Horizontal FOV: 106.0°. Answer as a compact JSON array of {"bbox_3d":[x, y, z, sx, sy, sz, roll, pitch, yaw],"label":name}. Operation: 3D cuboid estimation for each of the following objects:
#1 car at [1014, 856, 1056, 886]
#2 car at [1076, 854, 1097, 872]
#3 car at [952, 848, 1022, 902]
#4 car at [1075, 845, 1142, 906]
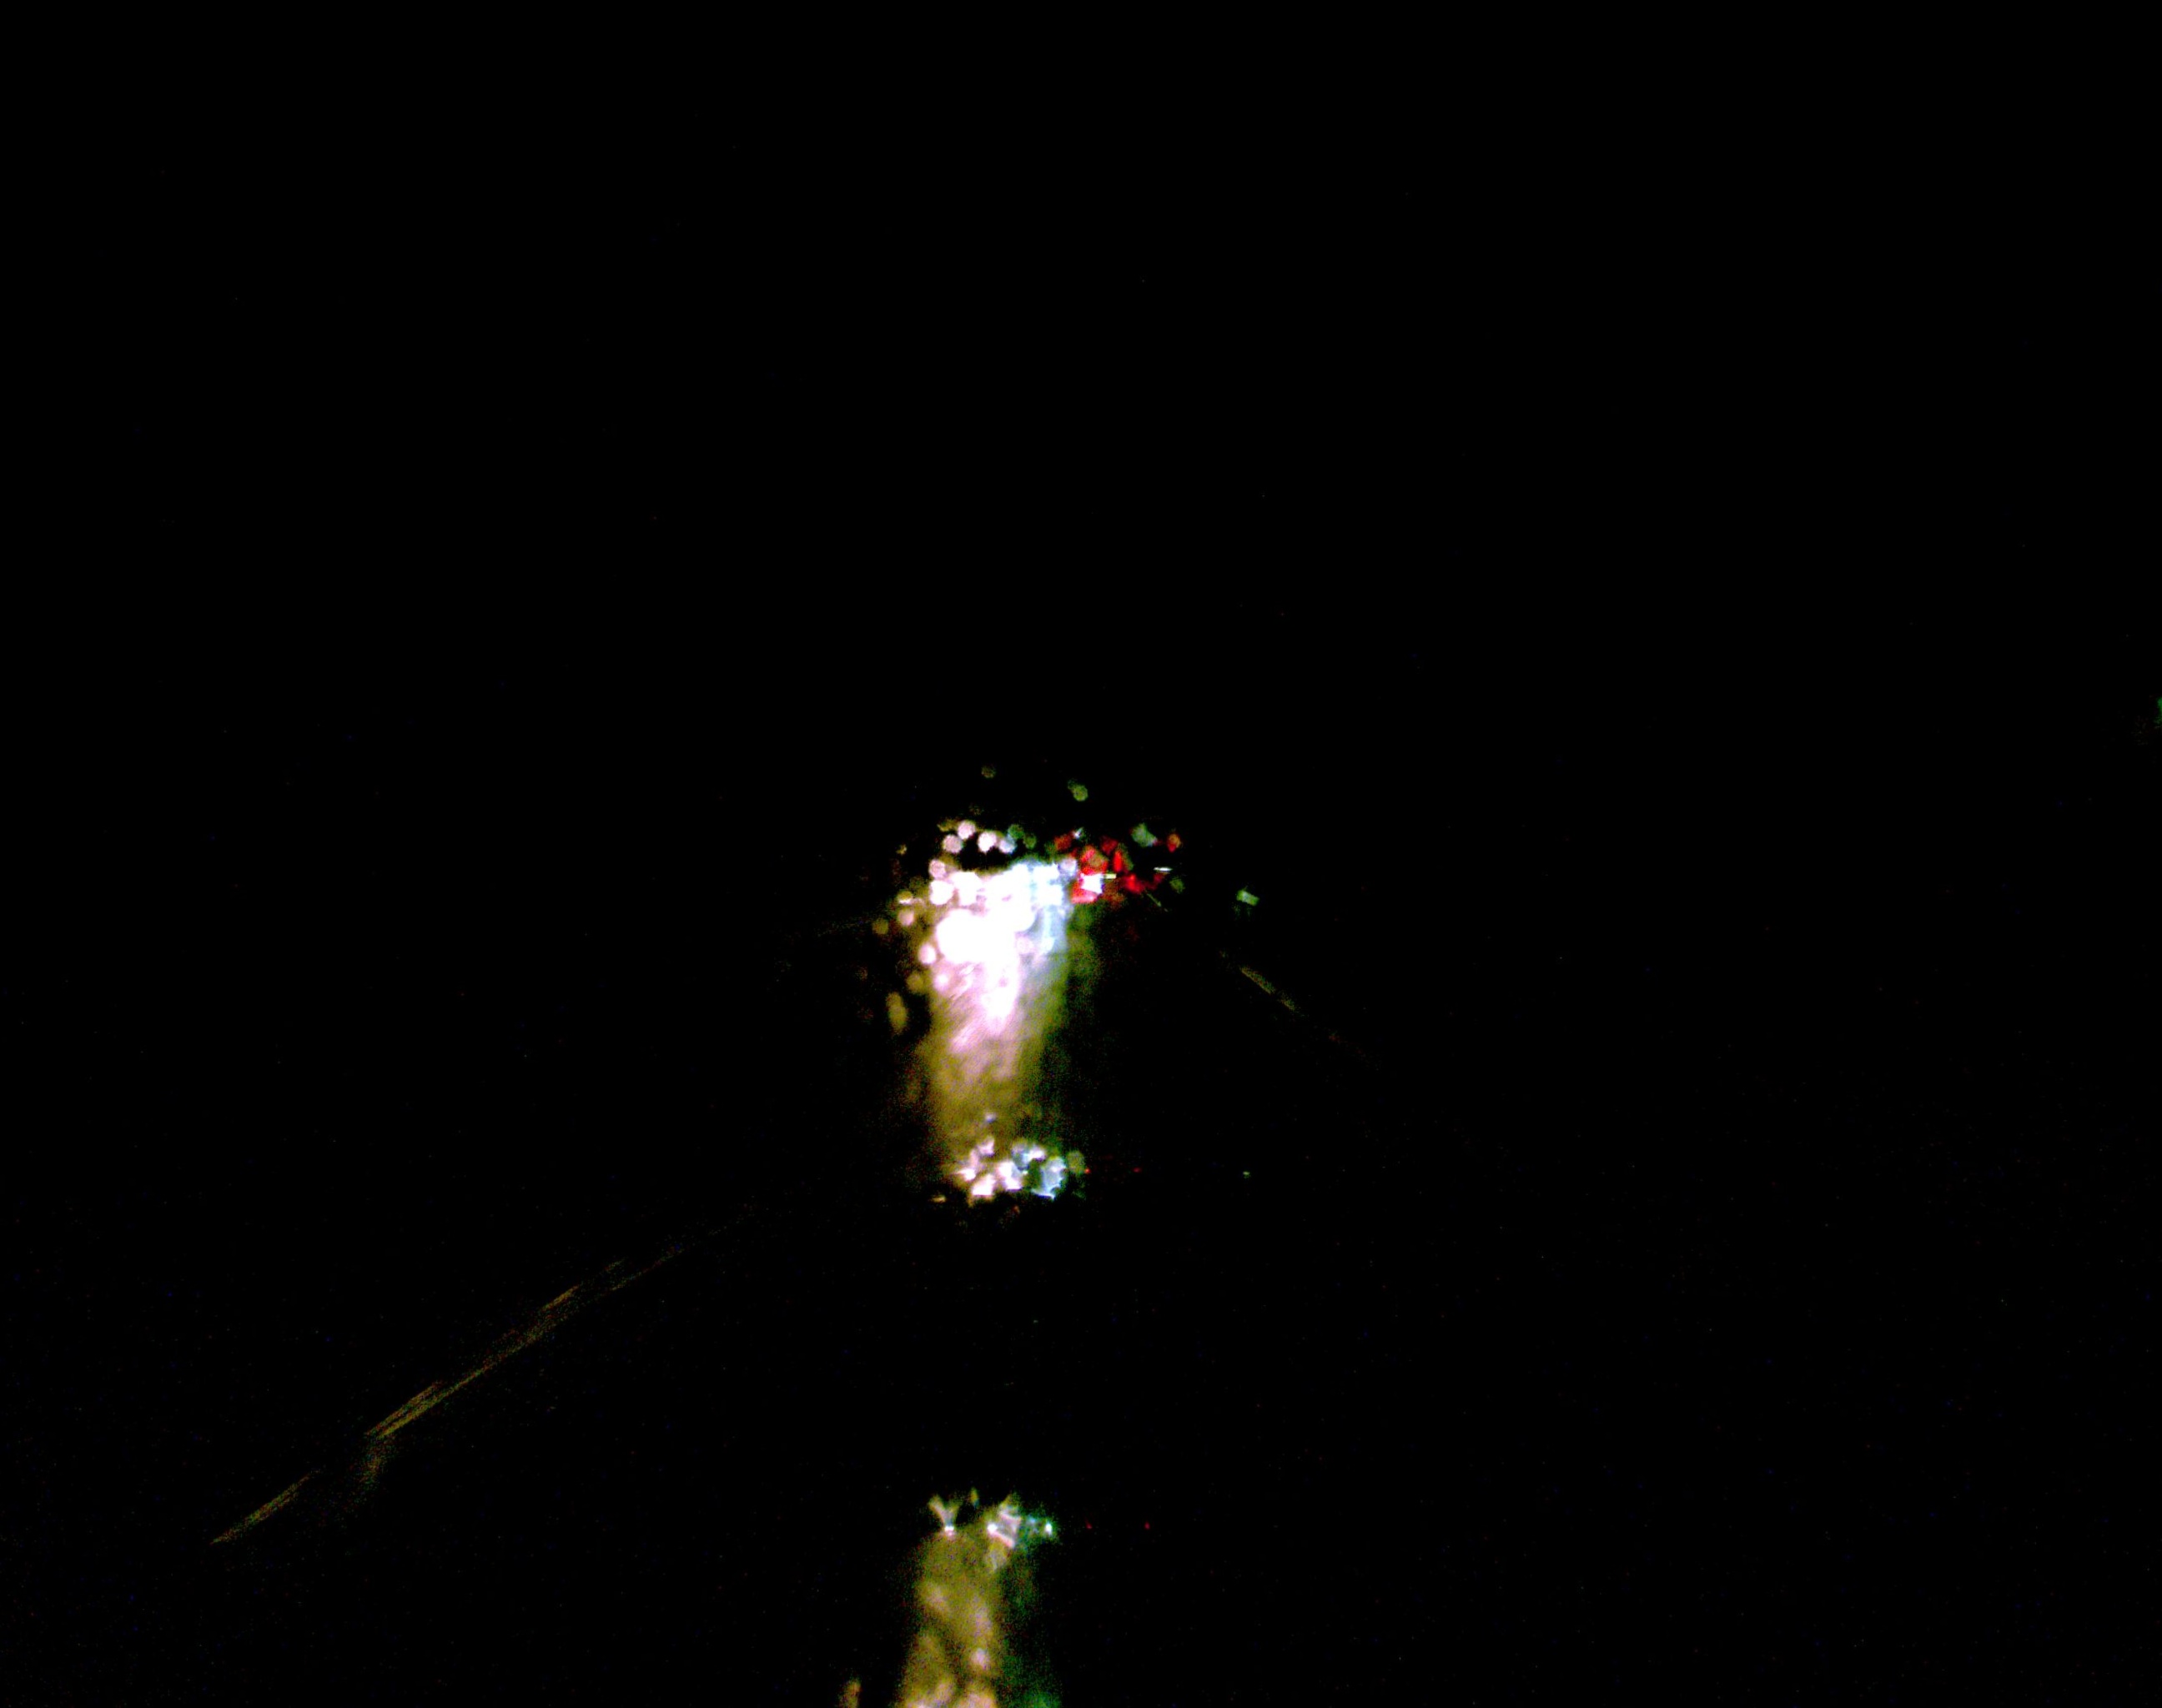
[{"bbox_3d":[-2.369,0.844,42.984,1.749,1.405,4.490,1,1,2],"label":"car"},{"bbox_3d":[0.525,0.804,73.996,1.758,1.542,4.151,0,0,3],"label":"car"},{"bbox_3d":[-2.903,0.607,25.743,1.656,1.560,3.562,-1,0,1],"label":"car"},{"bbox_3d":[0.924,0.659,26.841,1.986,1.807,3.919,-1,0,2],"label":"car"}]
